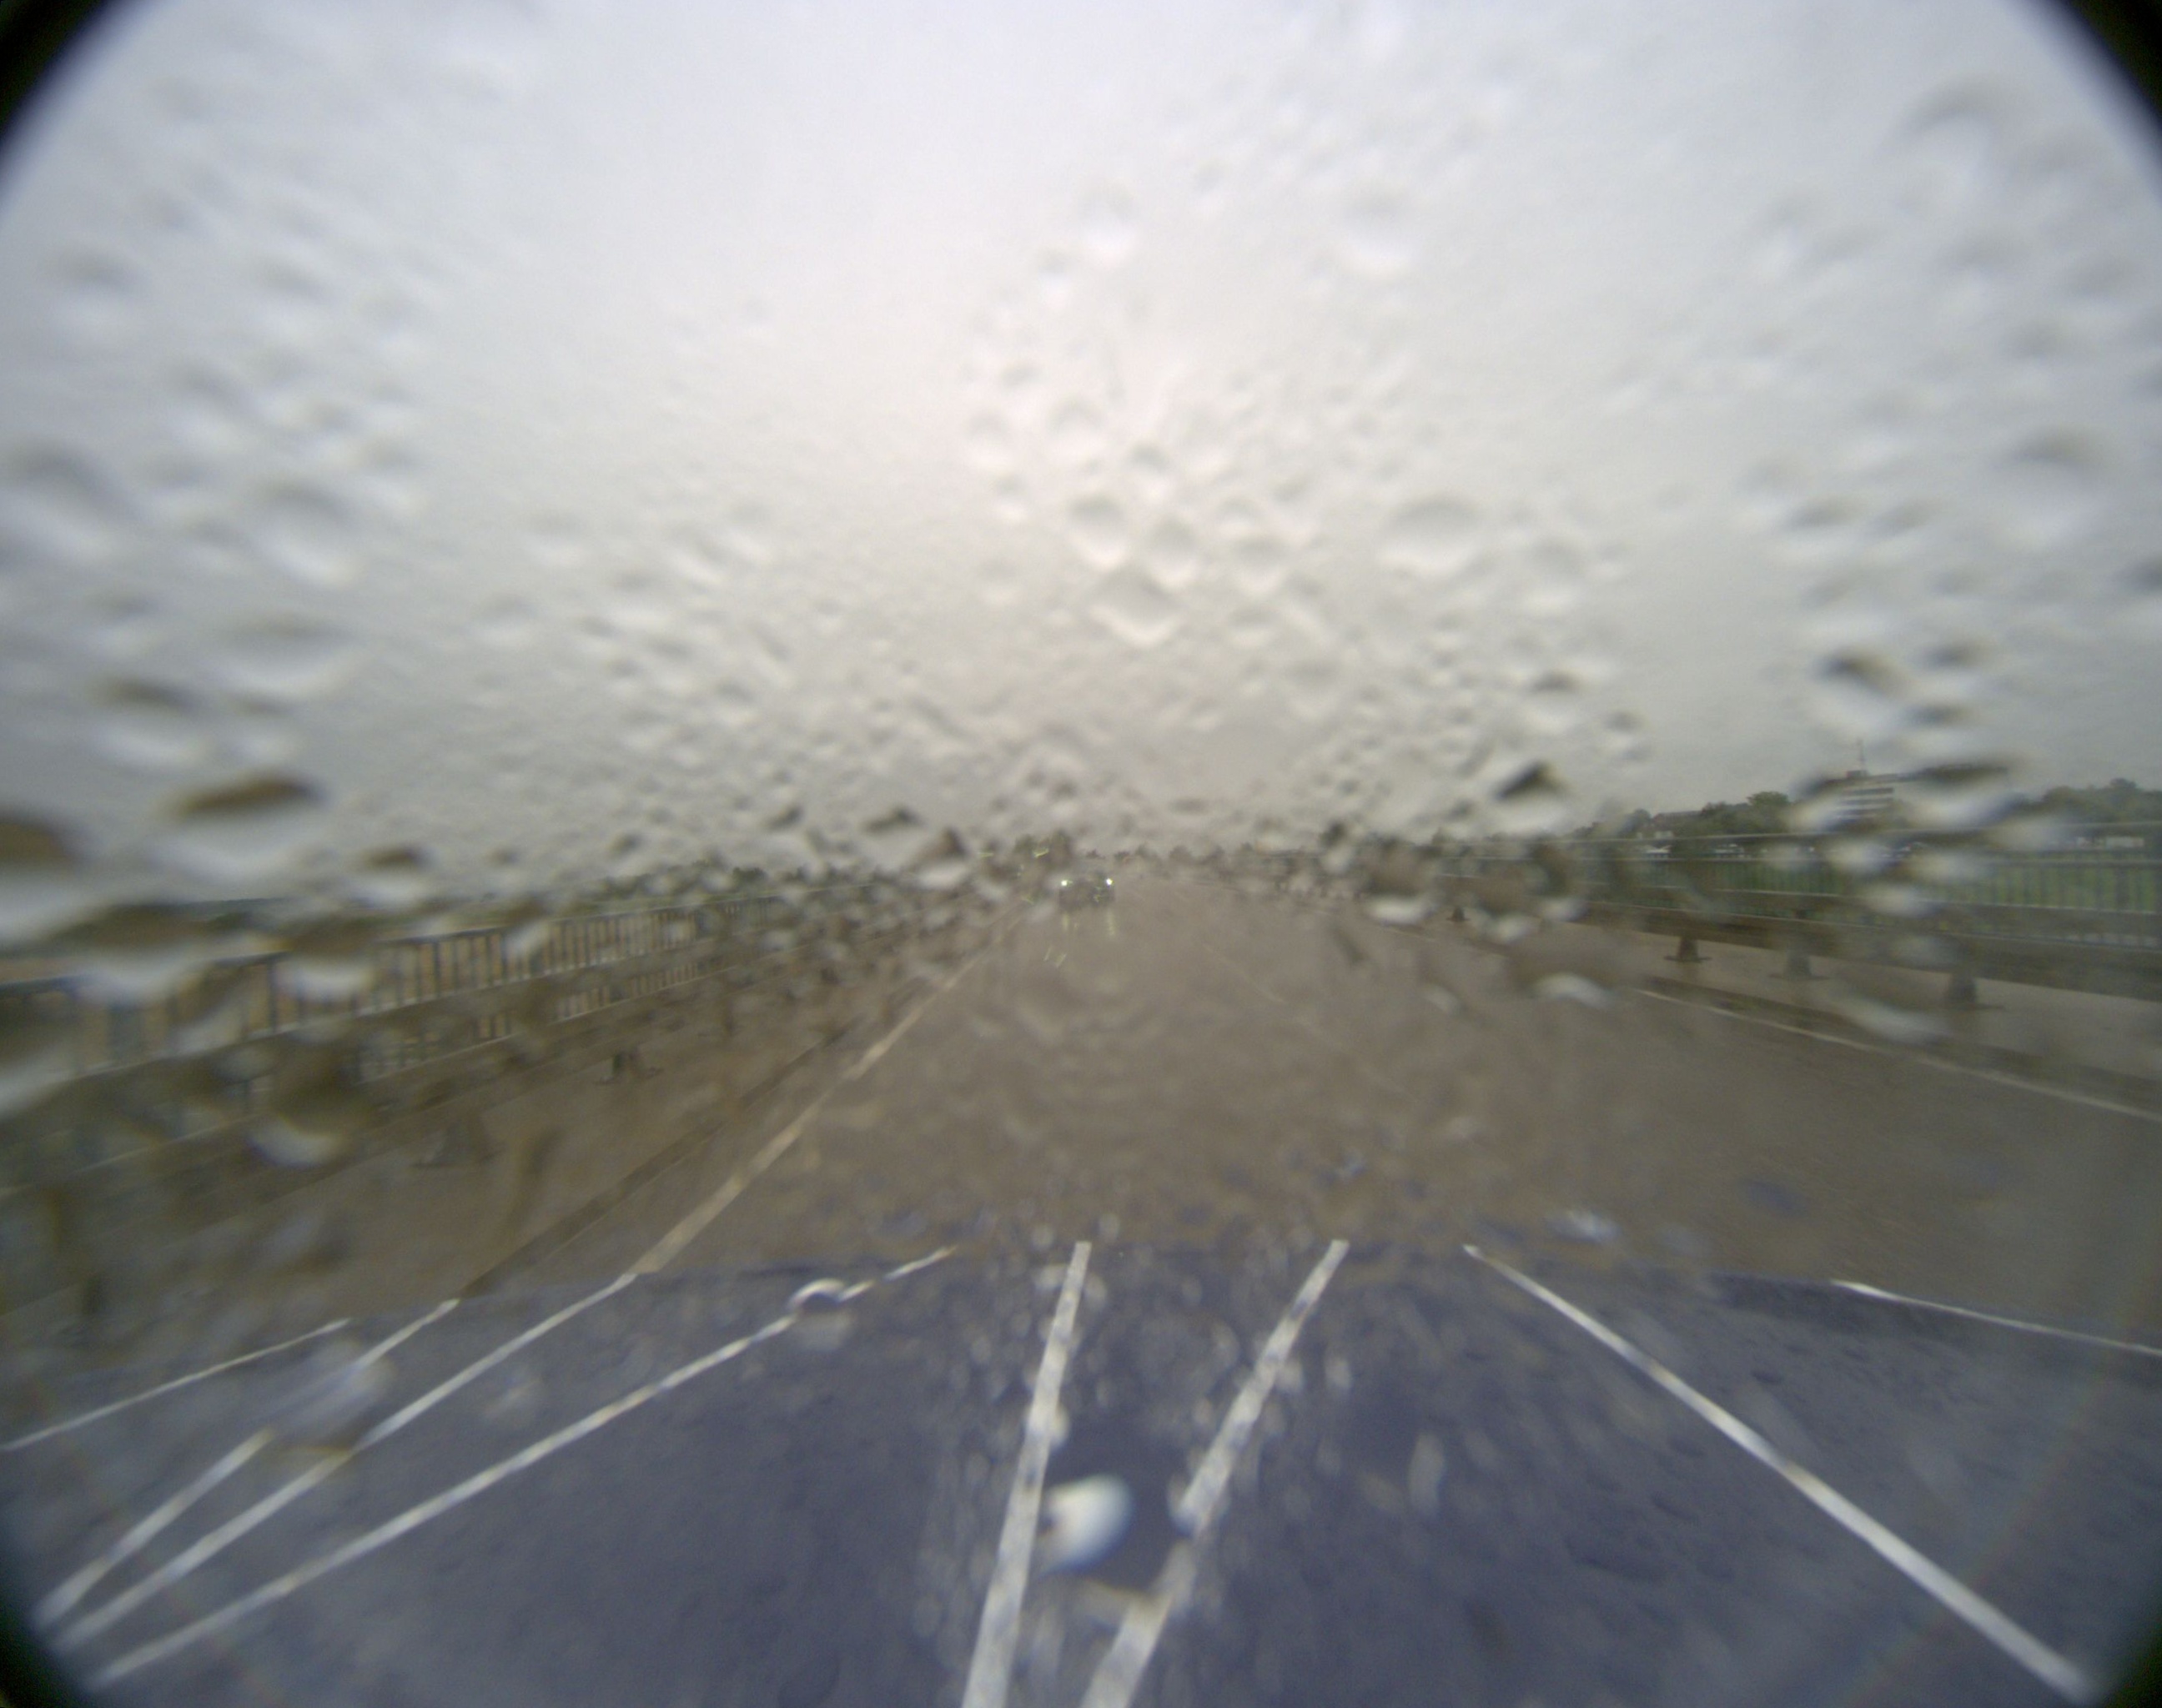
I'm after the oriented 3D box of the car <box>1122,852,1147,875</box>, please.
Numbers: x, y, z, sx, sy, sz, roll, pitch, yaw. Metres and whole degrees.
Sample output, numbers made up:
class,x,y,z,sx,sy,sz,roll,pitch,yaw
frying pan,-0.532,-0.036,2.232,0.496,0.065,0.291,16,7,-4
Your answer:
class,x,y,z,sx,sy,sz,roll,pitch,yaw
car,4.834,0.791,69.116,1.909,1.930,4.565,-2,1,1

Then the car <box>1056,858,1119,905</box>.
class,x,y,z,sx,sy,sz,roll,pitch,yaw
car,0.232,0.870,26.211,1.909,1.361,4.565,-2,0,1
